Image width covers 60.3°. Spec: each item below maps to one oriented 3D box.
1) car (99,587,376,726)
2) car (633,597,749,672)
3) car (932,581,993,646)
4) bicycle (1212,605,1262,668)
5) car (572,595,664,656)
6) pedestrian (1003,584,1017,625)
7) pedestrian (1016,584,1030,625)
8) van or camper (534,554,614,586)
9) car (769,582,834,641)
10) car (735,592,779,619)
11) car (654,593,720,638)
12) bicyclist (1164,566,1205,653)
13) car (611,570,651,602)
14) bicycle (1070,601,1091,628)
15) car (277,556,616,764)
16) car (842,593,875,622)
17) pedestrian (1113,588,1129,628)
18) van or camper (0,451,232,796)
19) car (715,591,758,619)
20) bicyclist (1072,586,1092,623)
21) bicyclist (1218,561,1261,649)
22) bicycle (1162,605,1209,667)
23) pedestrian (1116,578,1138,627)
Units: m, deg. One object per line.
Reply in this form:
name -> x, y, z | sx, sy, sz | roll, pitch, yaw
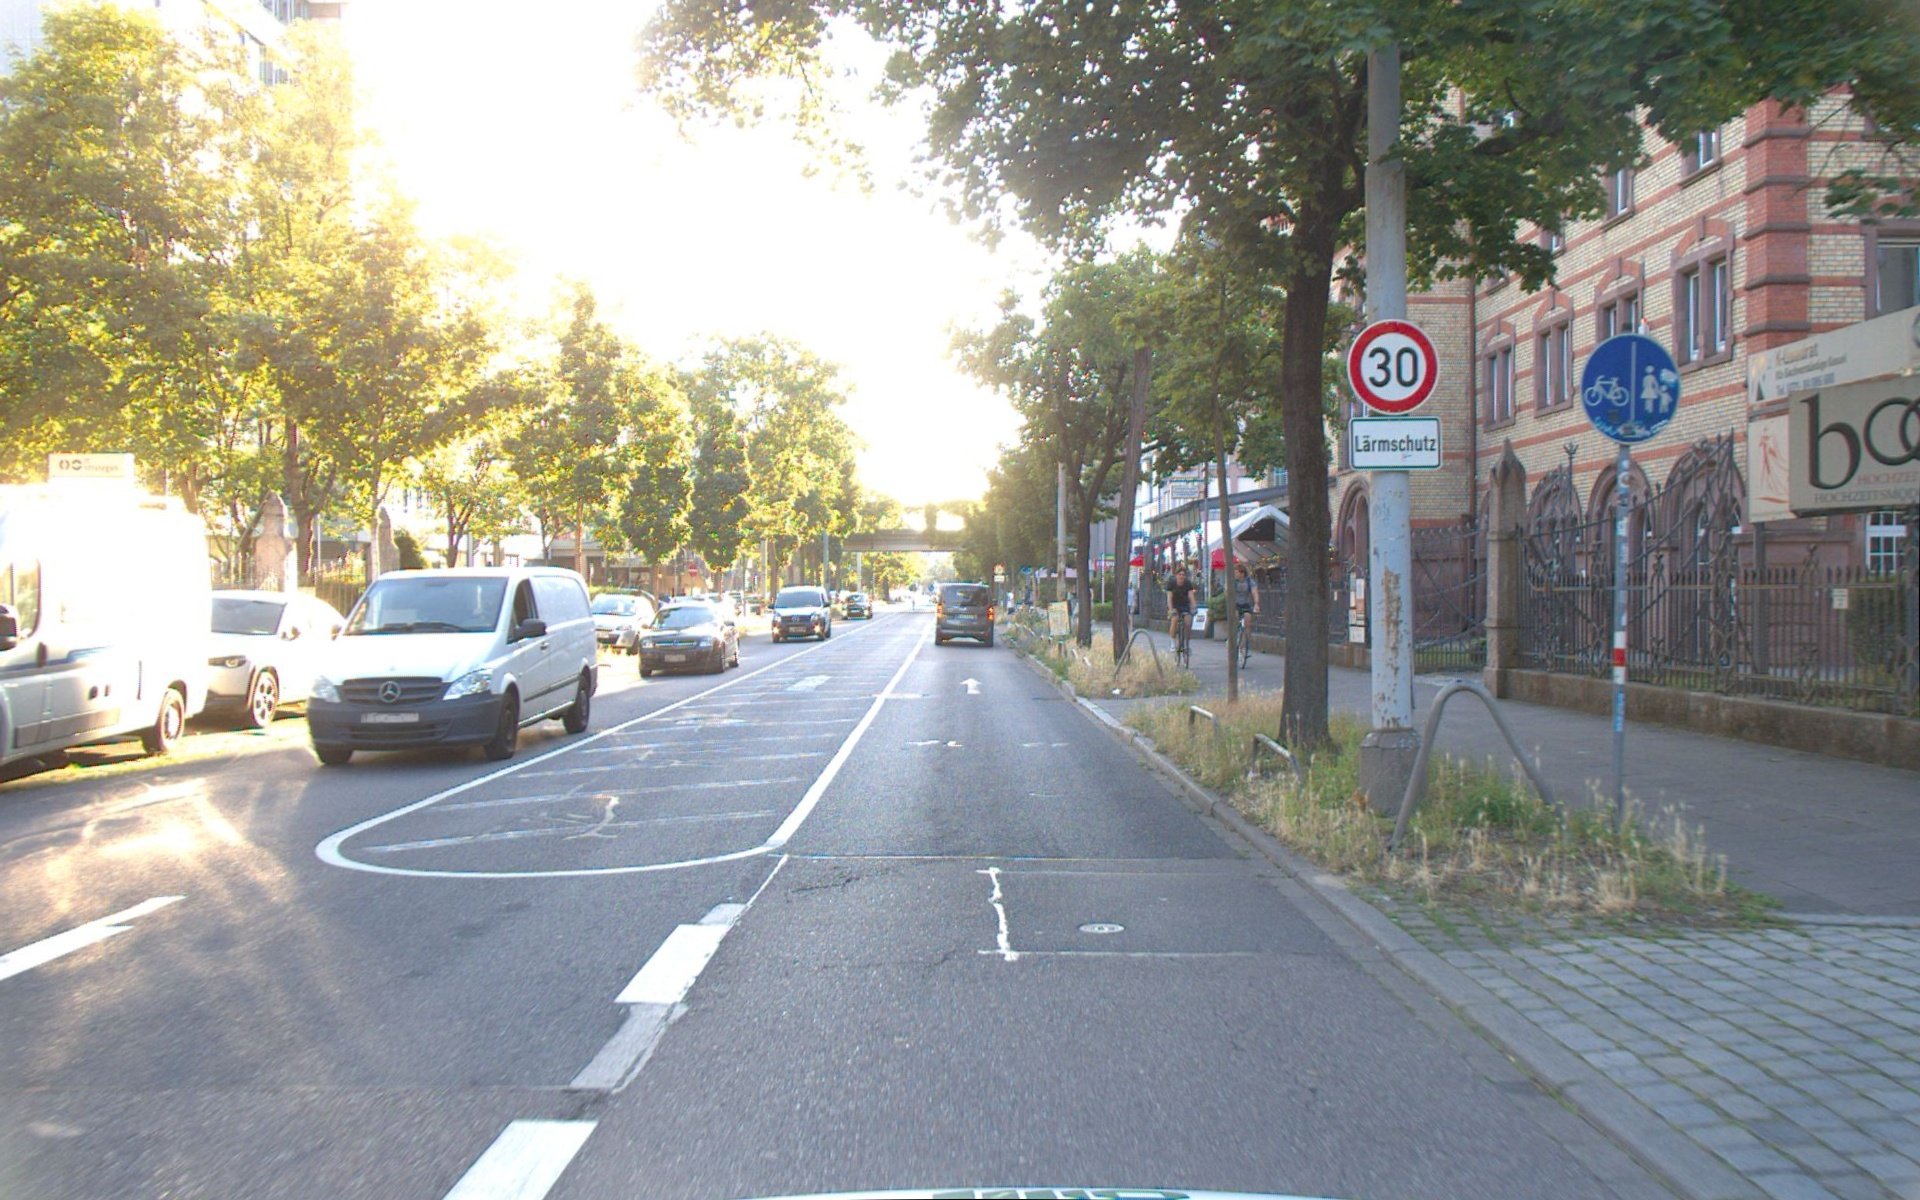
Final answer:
car -> -9.085, 0.636, 21.220 | 1.711, 1.561, 4.301 | 2, 0, -1
car -> -5.623, 0.677, 35.036 | 1.723, 1.410, 4.304 | -1, 0, 0
car -> 0.091, 0.383, 52.456 | 1.848, 1.958, 3.839 | -1, 1, 0
bicycle -> 4.990, 0.636, 29.870 | 0.507, 1.058, 2.088 | 2, 0, 0
car -> -8.979, 0.642, 43.704 | 1.662, 1.477, 3.999 | 2, 0, -1
pedestrian -> 2.368, 0.225, 78.070 | 0.496, 1.921, 0.543 | 2, 0, -15
pedestrian -> 2.954, 0.204, 77.580 | 0.496, 1.921, 0.543 | 2, 0, -15
van or camper -> -33.774, -2.597, 144.883 | 6.431, 2.566, 2.448 | 2, 0, -2
car -> -5.305, 0.363, 55.843 | 1.796, 1.885, 4.473 | -1, 0, -1
car -> -11.633, 0.309, 95.113 | 1.953, 1.439, 4.237 | 2, 0, 0
car -> -9.227, 0.487, 56.151 | 1.605, 1.410, 3.999 | 2, 0, -1
bicyclist -> 4.111, 0.164, 30.390 | 0.583, 1.559, 0.893 | 2, 0, -1
car -> -25.272, -1.049, 127.123 | 1.953, 2.348, 5.245 | 2, 0, 0
bicycle -> 4.244, 0.506, 58.273 | 0.567, 0.913, 1.987 | 2, 0, 0
car -> -5.237, 0.531, 17.731 | 1.952, 1.863, 5.170 | -1, 0, 0
car -> -5.860, 0.403, 95.684 | 1.645, 1.556, 4.000 | -2, 0, 0
pedestrian -> 5.607, 0.269, 57.652 | 0.457, 1.374, 0.530 | 2, 0, 0
van or camper -> -8.658, 0.144, 14.798 | 1.954, 2.715, 6.033 | 2, 0, -4
car -> -11.403, 0.227, 84.493 | 1.637, 1.337, 3.964 | 2, 0, 0
bicyclist -> 4.270, 0.147, 58.022 | 0.573, 1.258, 1.112 | 2, 0, -1
bicyclist -> 5.087, 0.091, 30.106 | 0.583, 1.559, 0.893 | 2, 0, -1
bicycle -> 4.116, 0.634, 30.254 | 0.533, 1.058, 2.088 | 2, 0, 0
pedestrian -> 5.667, 0.080, 56.206 | 0.631, 1.661, 0.656 | 2, 0, 0
